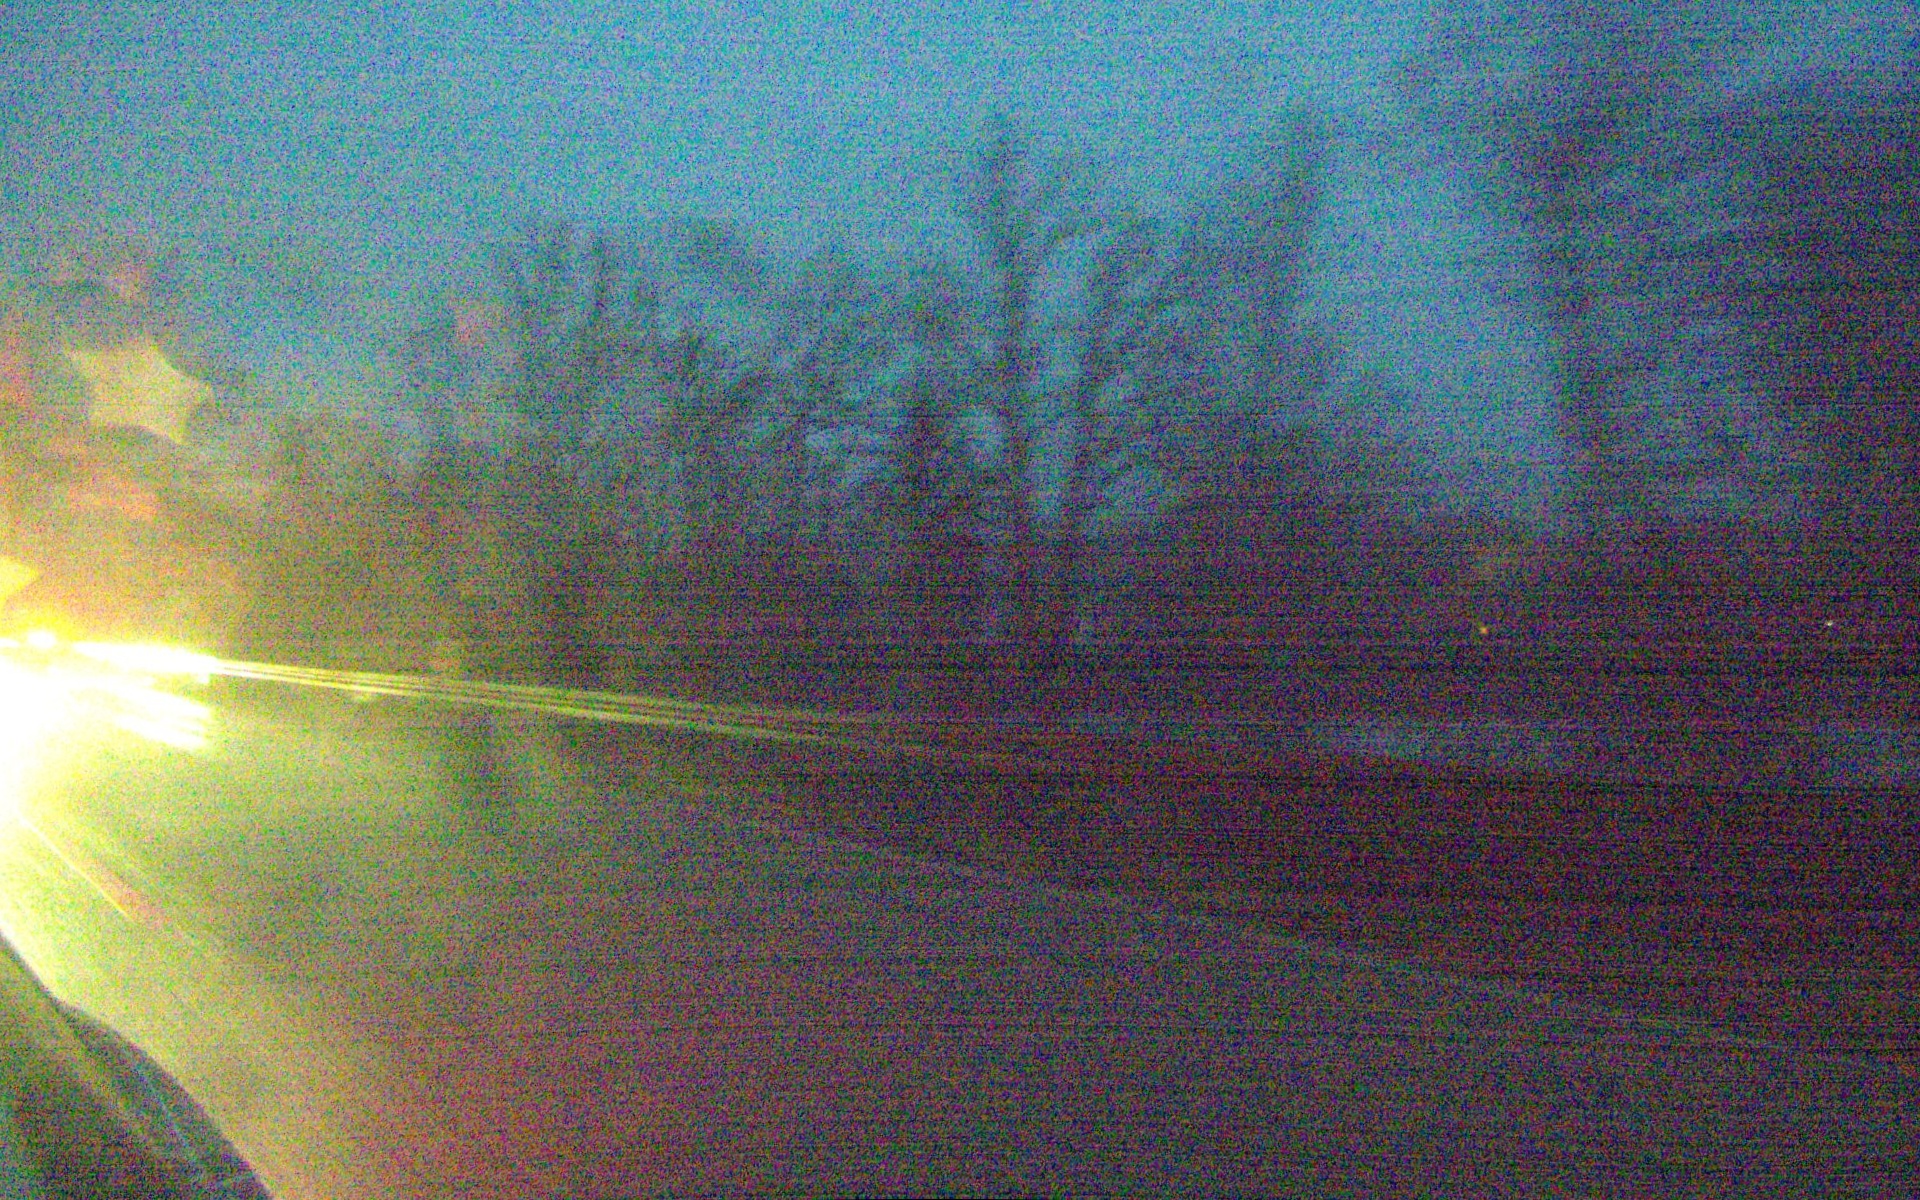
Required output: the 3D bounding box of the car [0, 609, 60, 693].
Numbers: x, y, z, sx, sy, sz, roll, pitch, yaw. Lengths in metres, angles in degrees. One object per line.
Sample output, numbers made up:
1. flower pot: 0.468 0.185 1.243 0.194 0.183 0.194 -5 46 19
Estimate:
1. car: -22.105 1.162 22.901 3.996 1.795 1.973 -3 -5 40
